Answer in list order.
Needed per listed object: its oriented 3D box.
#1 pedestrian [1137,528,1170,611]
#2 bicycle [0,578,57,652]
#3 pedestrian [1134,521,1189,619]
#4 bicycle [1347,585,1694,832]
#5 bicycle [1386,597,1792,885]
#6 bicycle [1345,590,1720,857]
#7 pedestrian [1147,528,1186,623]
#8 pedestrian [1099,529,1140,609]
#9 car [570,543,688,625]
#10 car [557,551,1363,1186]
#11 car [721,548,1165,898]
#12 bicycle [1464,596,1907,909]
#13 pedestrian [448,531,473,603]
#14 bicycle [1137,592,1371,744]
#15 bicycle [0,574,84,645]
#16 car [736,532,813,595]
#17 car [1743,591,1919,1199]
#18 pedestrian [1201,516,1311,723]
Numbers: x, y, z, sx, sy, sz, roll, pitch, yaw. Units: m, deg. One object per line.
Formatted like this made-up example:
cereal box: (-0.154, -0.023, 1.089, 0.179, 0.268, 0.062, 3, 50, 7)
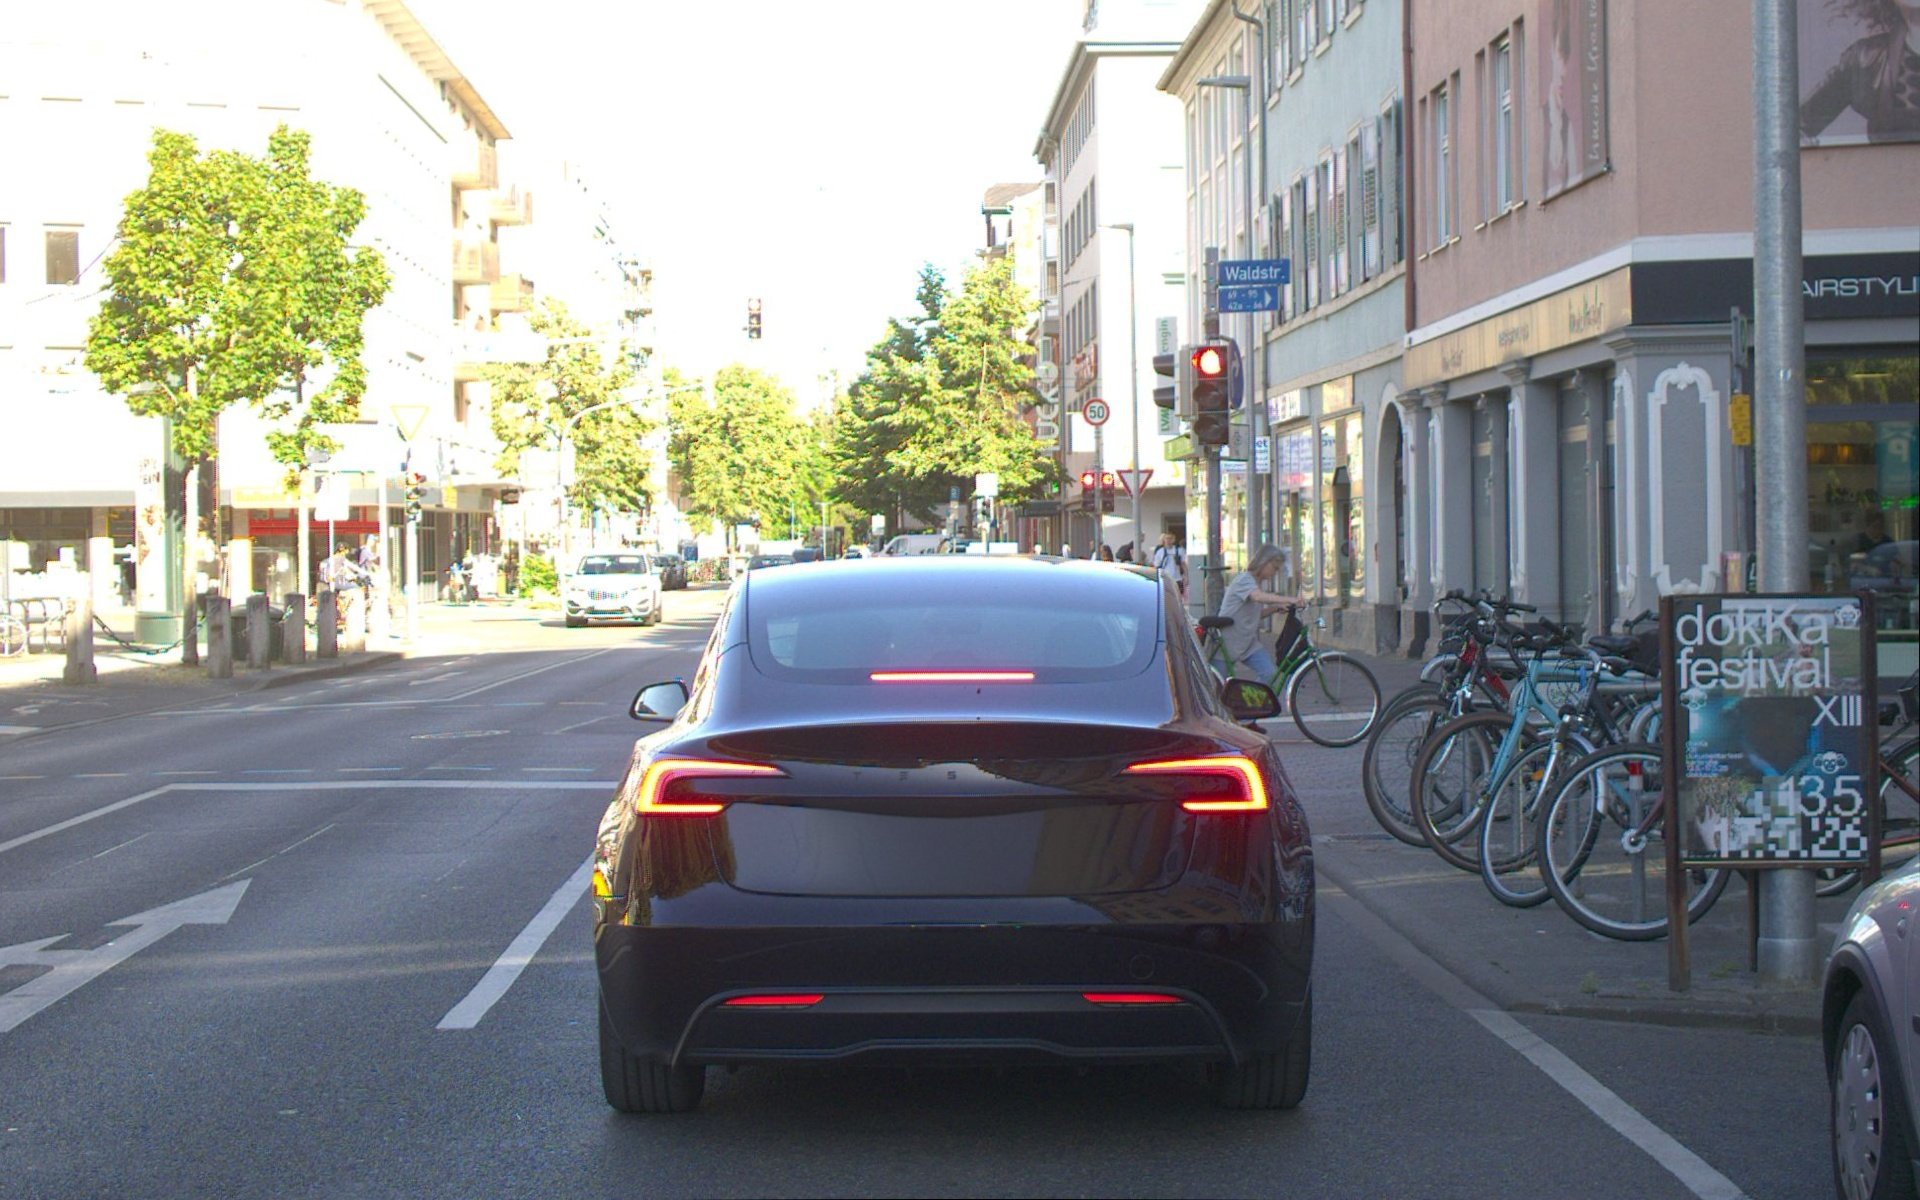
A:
pedestrian: (4.682, -0.745, 83.180, 0.627, 2.007, 0.558, 0, 1, 26)
bicycle: (-14.907, 0.222, 52.378, 2.082, 1.100, 0.806, 0, 1, 0)
pedestrian: (3.808, -0.566, 64.944, 0.999, 1.844, 0.615, 0, 1, -1)
bicycle: (2.783, 0.535, 17.143, 1.628, 1.156, 0.433, -2, 1, 1)
bicycle: (2.697, 0.599, 14.807, 1.627, 1.156, 0.433, -2, 1, -1)
bicycle: (2.650, 0.566, 15.972, 1.627, 1.156, 0.433, -2, 1, -1)
pedestrian: (3.898, -0.465, 64.956, 0.704, 1.777, 0.533, 0, 1, -1)
pedestrian: (4.007, -0.785, 86.401, 0.750, 2.007, 0.798, 0, 1, -26)
car: (-6.821, -0.354, 71.221, 1.993, 1.535, 4.000, -4, 1, -1)
car: (0.008, 0.590, 9.794, 1.850, 1.450, 3.786, 0, 1, 0)
car: (-0.062, 0.484, 16.210, 1.850, 1.450, 3.786, 0, 1, 0)
bicycle: (2.865, 0.593, 13.636, 1.627, 1.156, 0.433, -2, 1, -1)
pedestrian: (-14.111, -0.932, 97.096, 0.626, 2.007, 0.575, 0, 1, -1)
bicycle: (2.086, 0.470, 24.298, 1.616, 1.041, 0.591, 1, 0, 8)
bicycle: (-15.044, 0.150, 54.571, 2.082, 1.100, 0.806, 0, 1, 0)
car: (-5.158, -1.027, 96.077, 2.050, 1.721, 4.654, 0, 1, -2)
car: (2.620, 0.708, 6.026, 1.622, 1.389, 3.886, 0, 1, 0)
pedestrian: (2.095, 0.132, 24.292, 0.743, 1.435, 0.582, 0, 0, 8)
